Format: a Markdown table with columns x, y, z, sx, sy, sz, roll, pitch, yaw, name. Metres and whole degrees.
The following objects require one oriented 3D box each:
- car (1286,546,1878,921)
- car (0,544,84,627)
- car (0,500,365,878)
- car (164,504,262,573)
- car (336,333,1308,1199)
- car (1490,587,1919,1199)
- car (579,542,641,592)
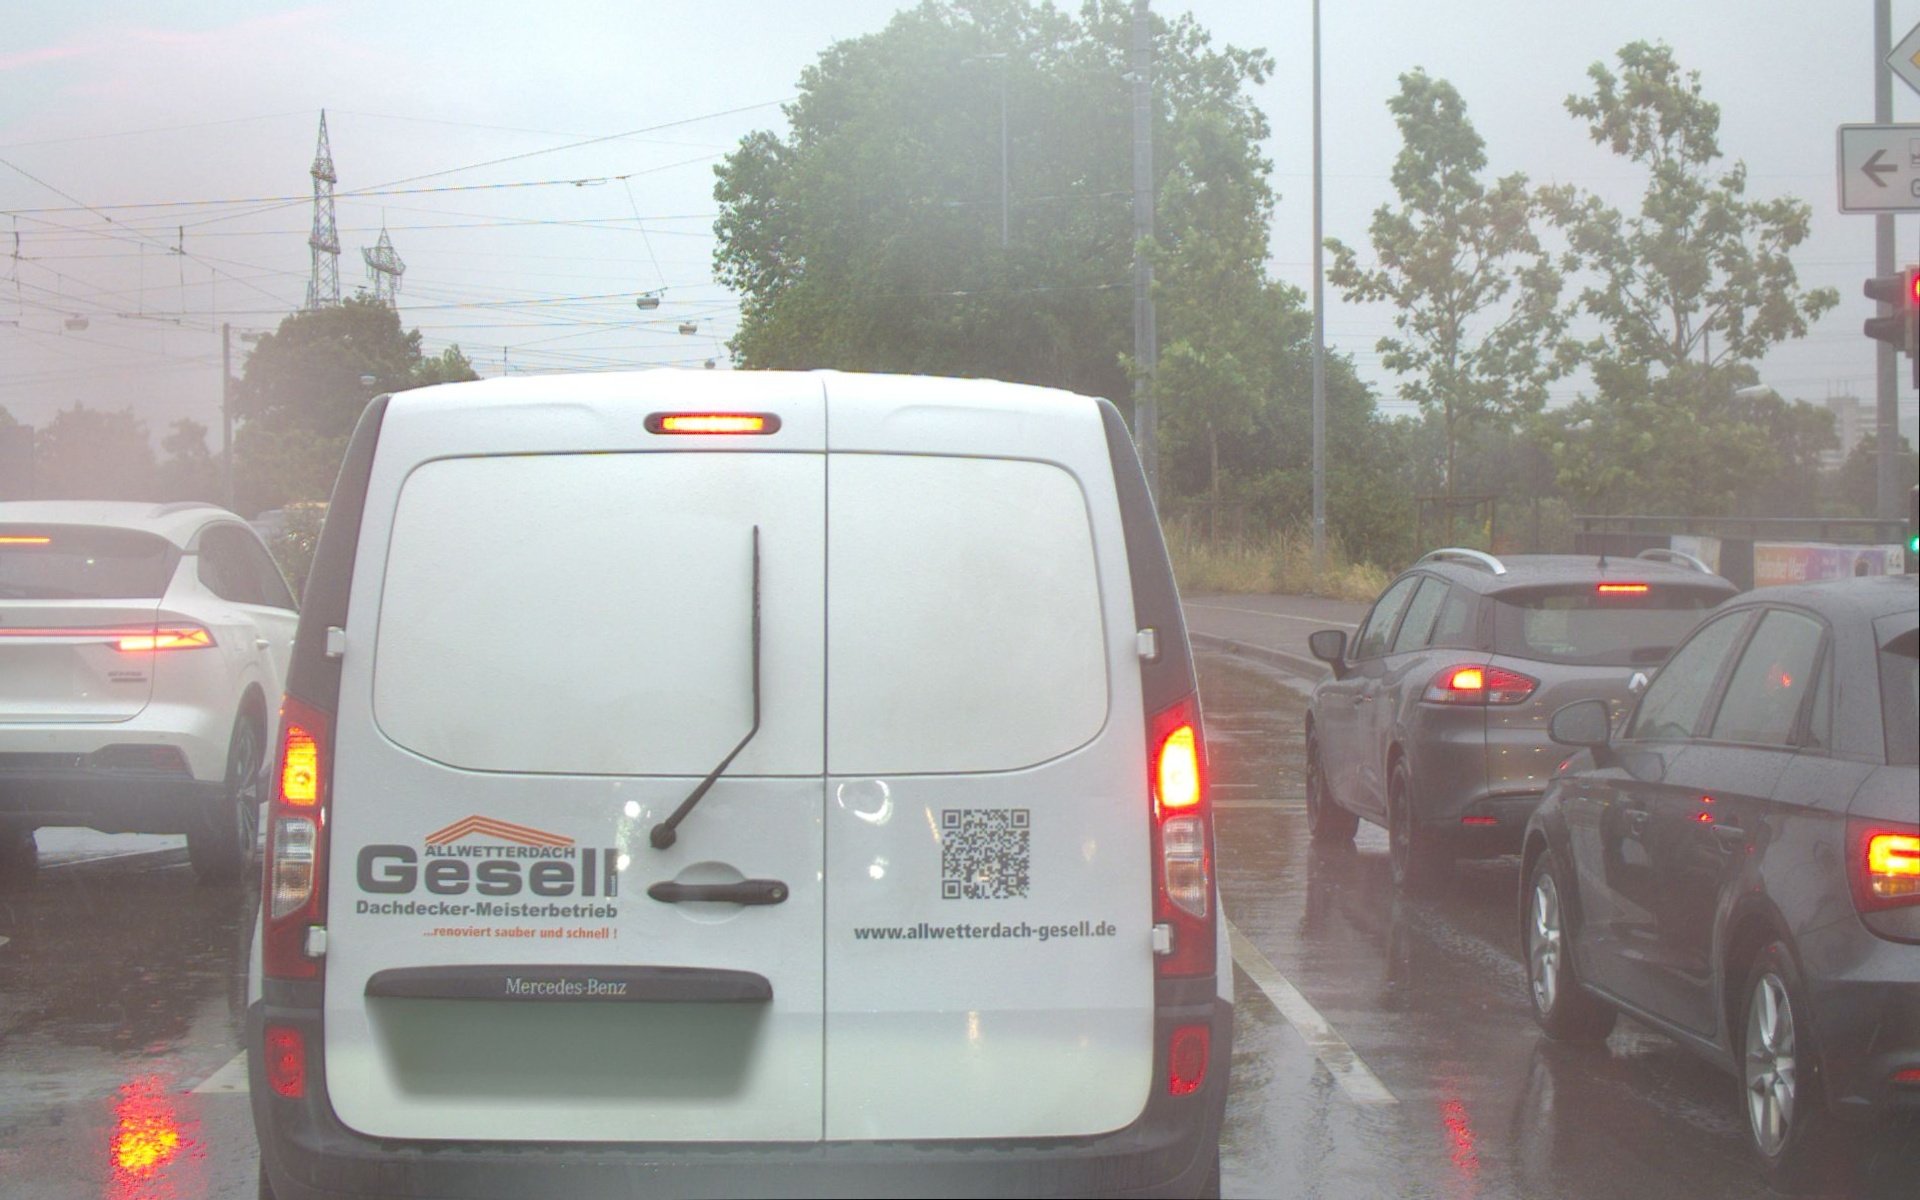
| x | y | z | sx | sy | sz | roll | pitch | yaw | name |
| --- | --- | --- | --- | --- | --- | --- | --- | --- | --- |
| 2.646 | 0.502 | 15.522 | 1.859 | 1.424 | 3.808 | 1 | 1 | -2 | car |
| -21.329 | -0.348 | 77.445 | 1.929 | 1.820 | 3.999 | 1 | 1 | 4 | car |
| -3.981 | 0.303 | 16.149 | 1.728 | 1.530 | 4.298 | 1 | 1 | -2 | car |
| -22.575 | -1.851 | 104.013 | 1.993 | 2.007 | 4.000 | 1 | 1 | 1 | car |
| -0.245 | 0.437 | 7.565 | 1.566 | 1.782 | 4.000 | 0 | 1 | -1 | car |
| 2.529 | 0.662 | 8.937 | 1.629 | 1.340 | 3.624 | 1 | 1 | -2 | car |
| -10.752 | -1.022 | 105.446 | 1.614 | 1.498 | 3.716 | 1 | 1 | -10 | car |
